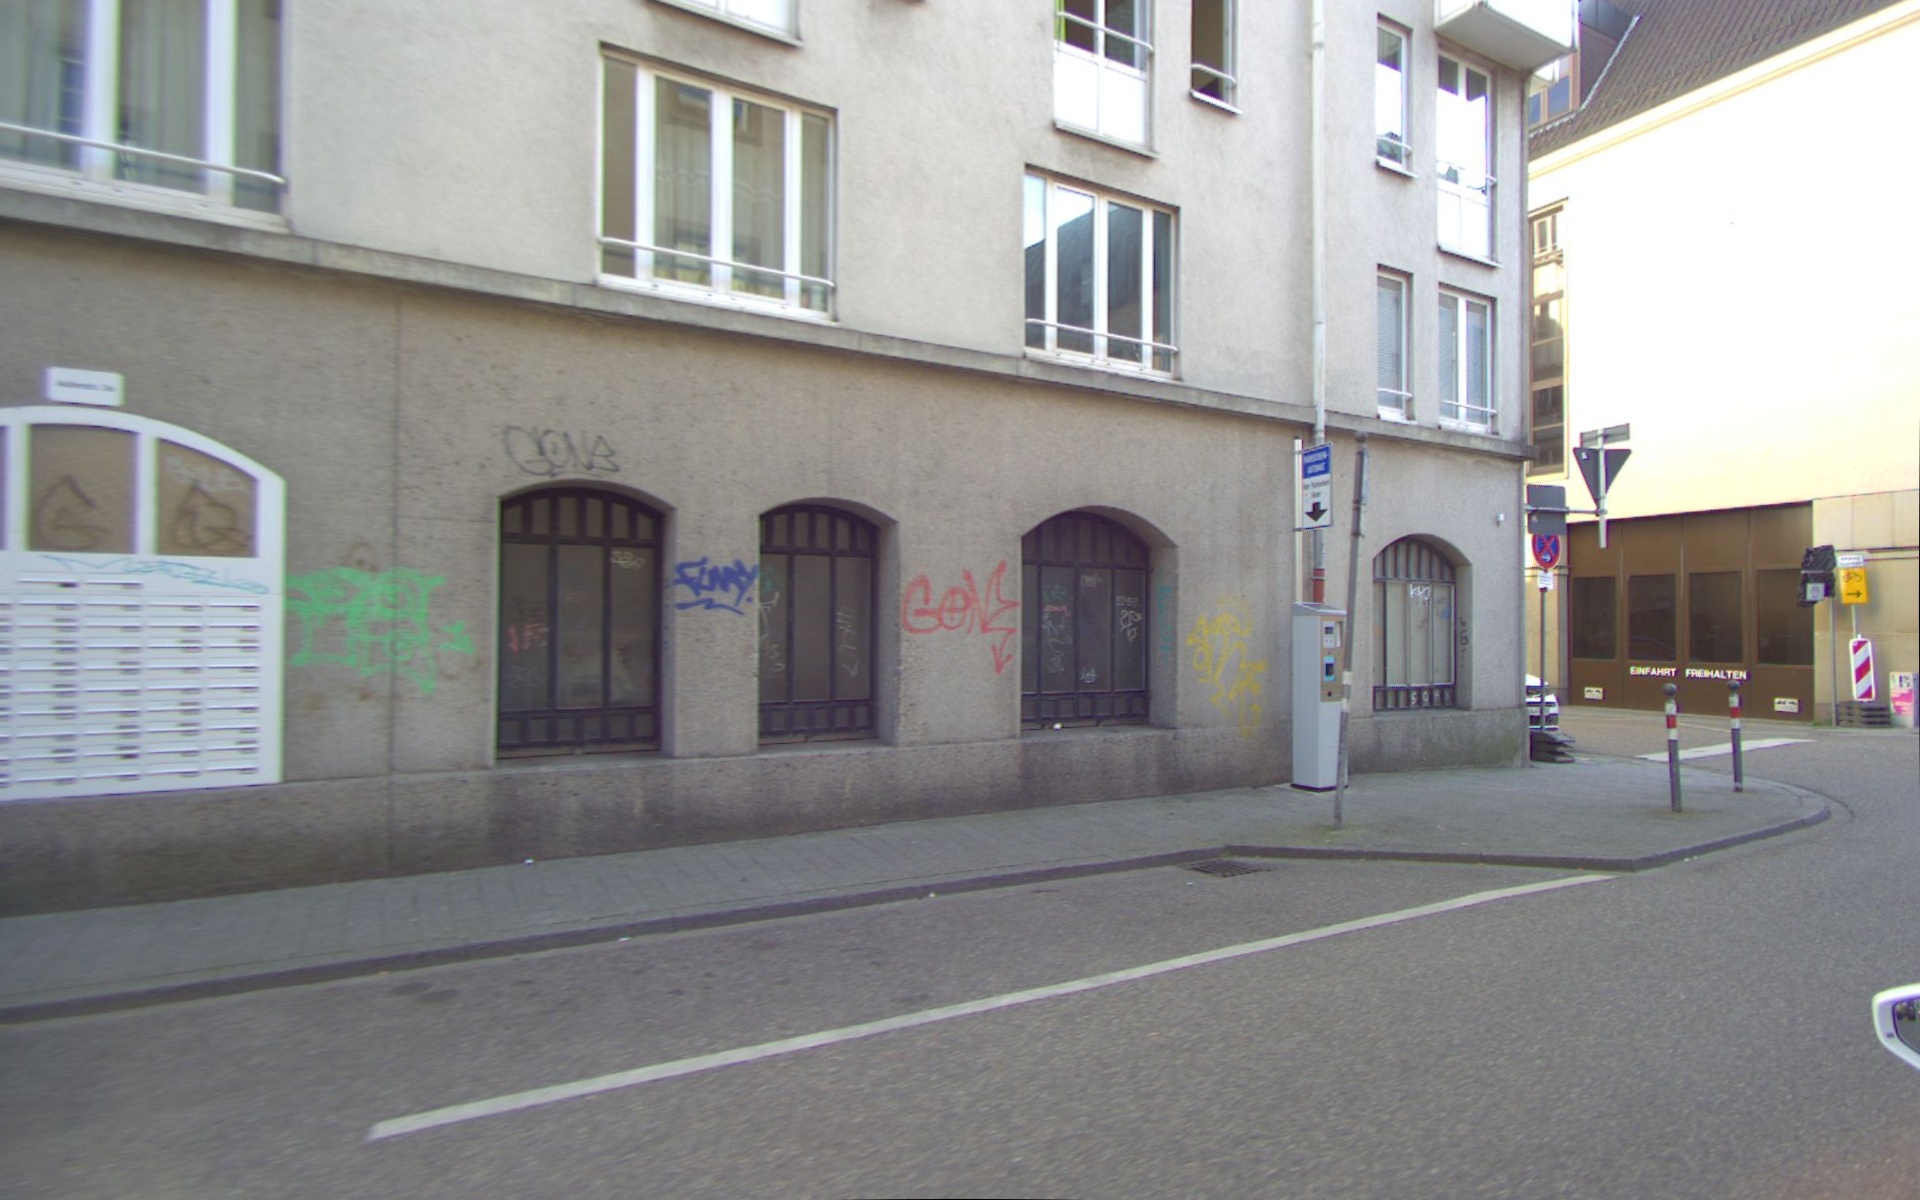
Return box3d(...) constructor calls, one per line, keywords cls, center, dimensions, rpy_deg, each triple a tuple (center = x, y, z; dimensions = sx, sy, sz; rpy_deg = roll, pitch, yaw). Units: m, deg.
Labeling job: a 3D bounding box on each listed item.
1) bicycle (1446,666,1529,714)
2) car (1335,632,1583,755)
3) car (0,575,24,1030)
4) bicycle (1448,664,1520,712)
box3d(cls="bicycle", center=(11.742, 1.986, 22.413), dimensions=(0.223, 0.978, 1.681), rpy_deg=(1, -2, -38))
box3d(cls="car", center=(7.595, 1.366, 15.775), dimensions=(1.729, 1.677, 3.999), rpy_deg=(0, -2, -3))
box3d(cls="car", center=(-5.103, 0.689, 2.174), dimensions=(4.141, 1.733, 1.733), rpy_deg=(1, -5, -30))
box3d(cls="bicycle", center=(11.845, 1.970, 22.729), dimensions=(0.268, 1.017, 1.473), rpy_deg=(1, -2, -36))
